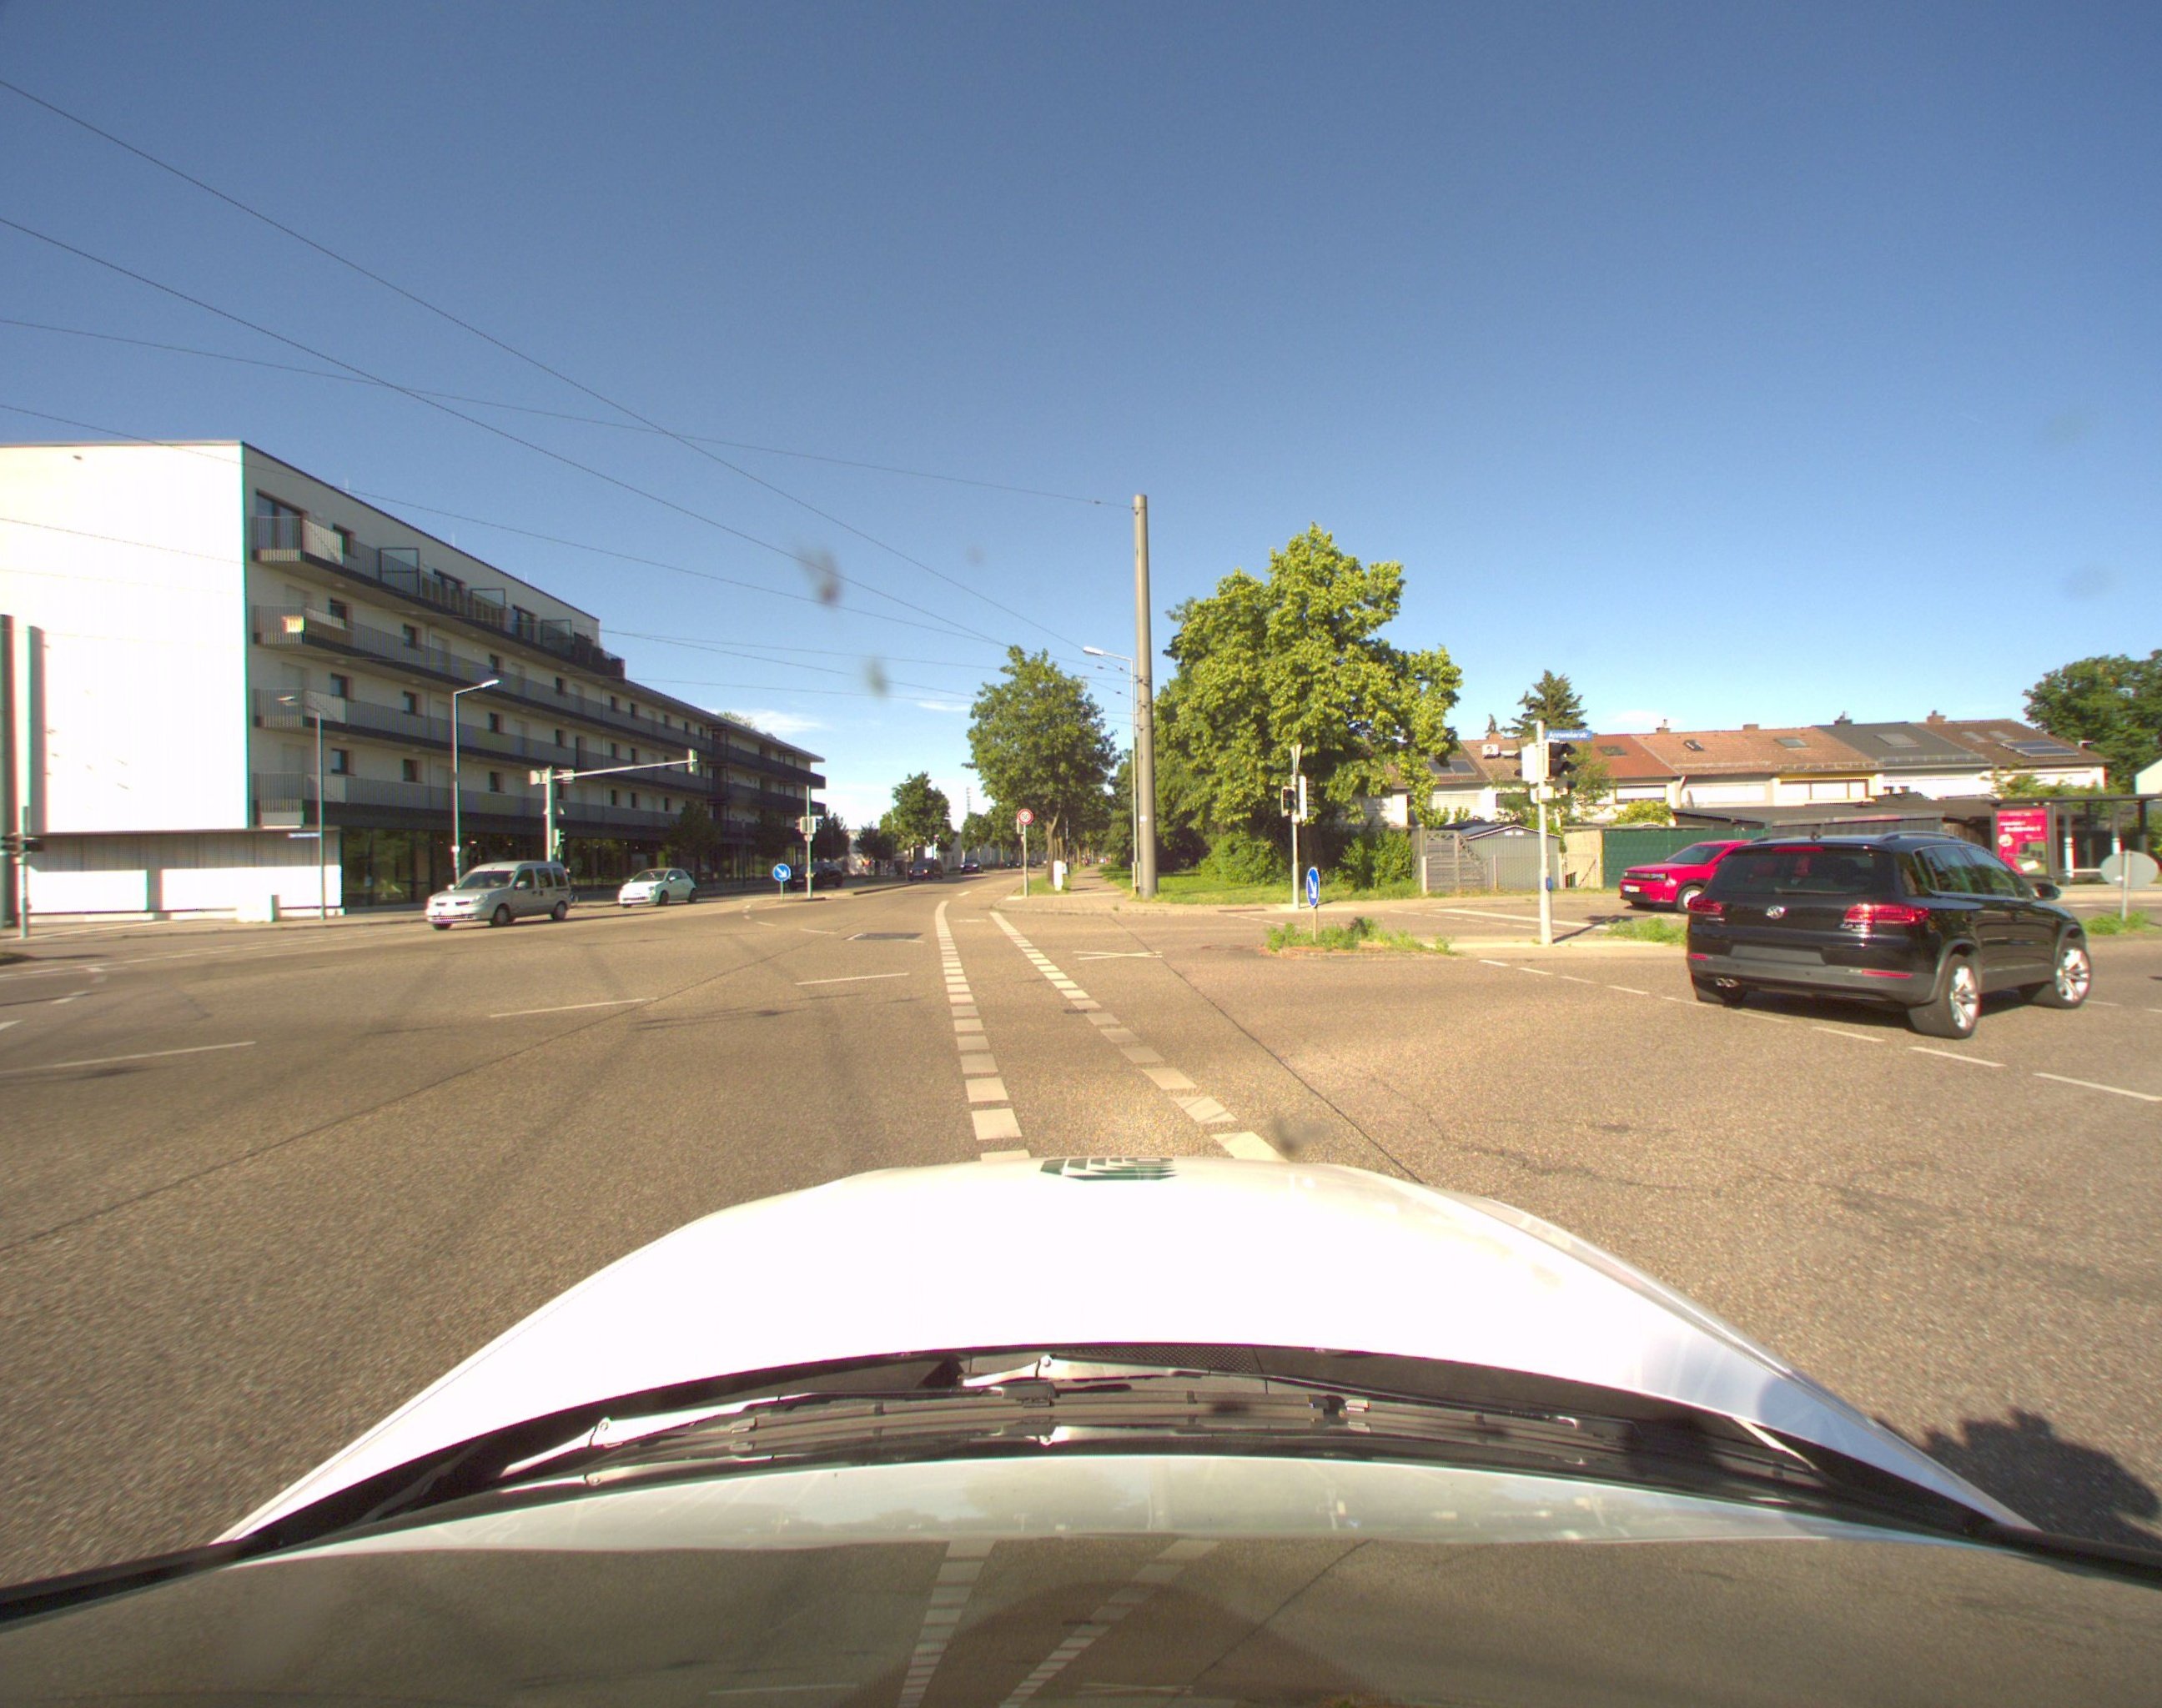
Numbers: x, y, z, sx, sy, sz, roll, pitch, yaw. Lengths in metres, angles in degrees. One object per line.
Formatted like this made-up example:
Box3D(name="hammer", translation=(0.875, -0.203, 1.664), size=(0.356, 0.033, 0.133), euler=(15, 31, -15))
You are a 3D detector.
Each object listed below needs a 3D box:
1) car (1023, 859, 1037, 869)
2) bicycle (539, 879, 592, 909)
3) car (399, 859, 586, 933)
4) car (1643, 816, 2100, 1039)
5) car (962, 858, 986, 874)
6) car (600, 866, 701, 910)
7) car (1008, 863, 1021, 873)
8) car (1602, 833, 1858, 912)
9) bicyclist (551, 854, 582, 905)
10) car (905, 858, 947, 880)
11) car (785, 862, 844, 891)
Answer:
Box3D(name="car", translation=(-8.780, 1.695, 140.189), size=(1.887, 1.758, 4.003), euler=(1, -1, 3))
Box3D(name="bicycle", translation=(-20.863, 1.602, 32.998), size=(1.639, 1.144, 0.742), euler=(-2, 0, -12))
Box3D(name="car", translation=(-15.891, 1.053, 22.346), size=(1.988, 1.755, 4.359), euler=(-1, 0, -2))
Box3D(name="car", translation=(7.781, 0.538, 7.953), size=(4.525, 1.654, 1.918), euler=(0, 0, -28))
Box3D(name="car", translation=(-11.834, 1.296, 90.413), size=(1.987, 1.737, 5.198), euler=(-2, 0, 0))
Box3D(name="car", translation=(-17.133, 1.308, 32.632), size=(1.986, 1.487, 3.545), euler=(-3, 0, 1))
Box3D(name="car", translation=(-10.110, 2.125, 123.768), size=(1.673, 1.534, 3.999), euler=(-1, 0, 0))
Box3D(name="car", translation=(14.353, 0.392, 18.210), size=(4.151, 1.588, 1.947), euler=(-1, 0, 2))
Box3D(name="bicyclist", translation=(-20.839, 1.018, 33.013), size=(0.793, 2.014, 0.808), euler=(-2, -1, -11))
Box3D(name="car", translation=(-11.731, 1.102, 61.885), size=(1.984, 1.571, 4.006), euler=(-2, 0, 6))
Box3D(name="car", translation=(-15.900, 1.313, 48.918), size=(1.961, 1.534, 4.739), euler=(-2, 0, 0))
